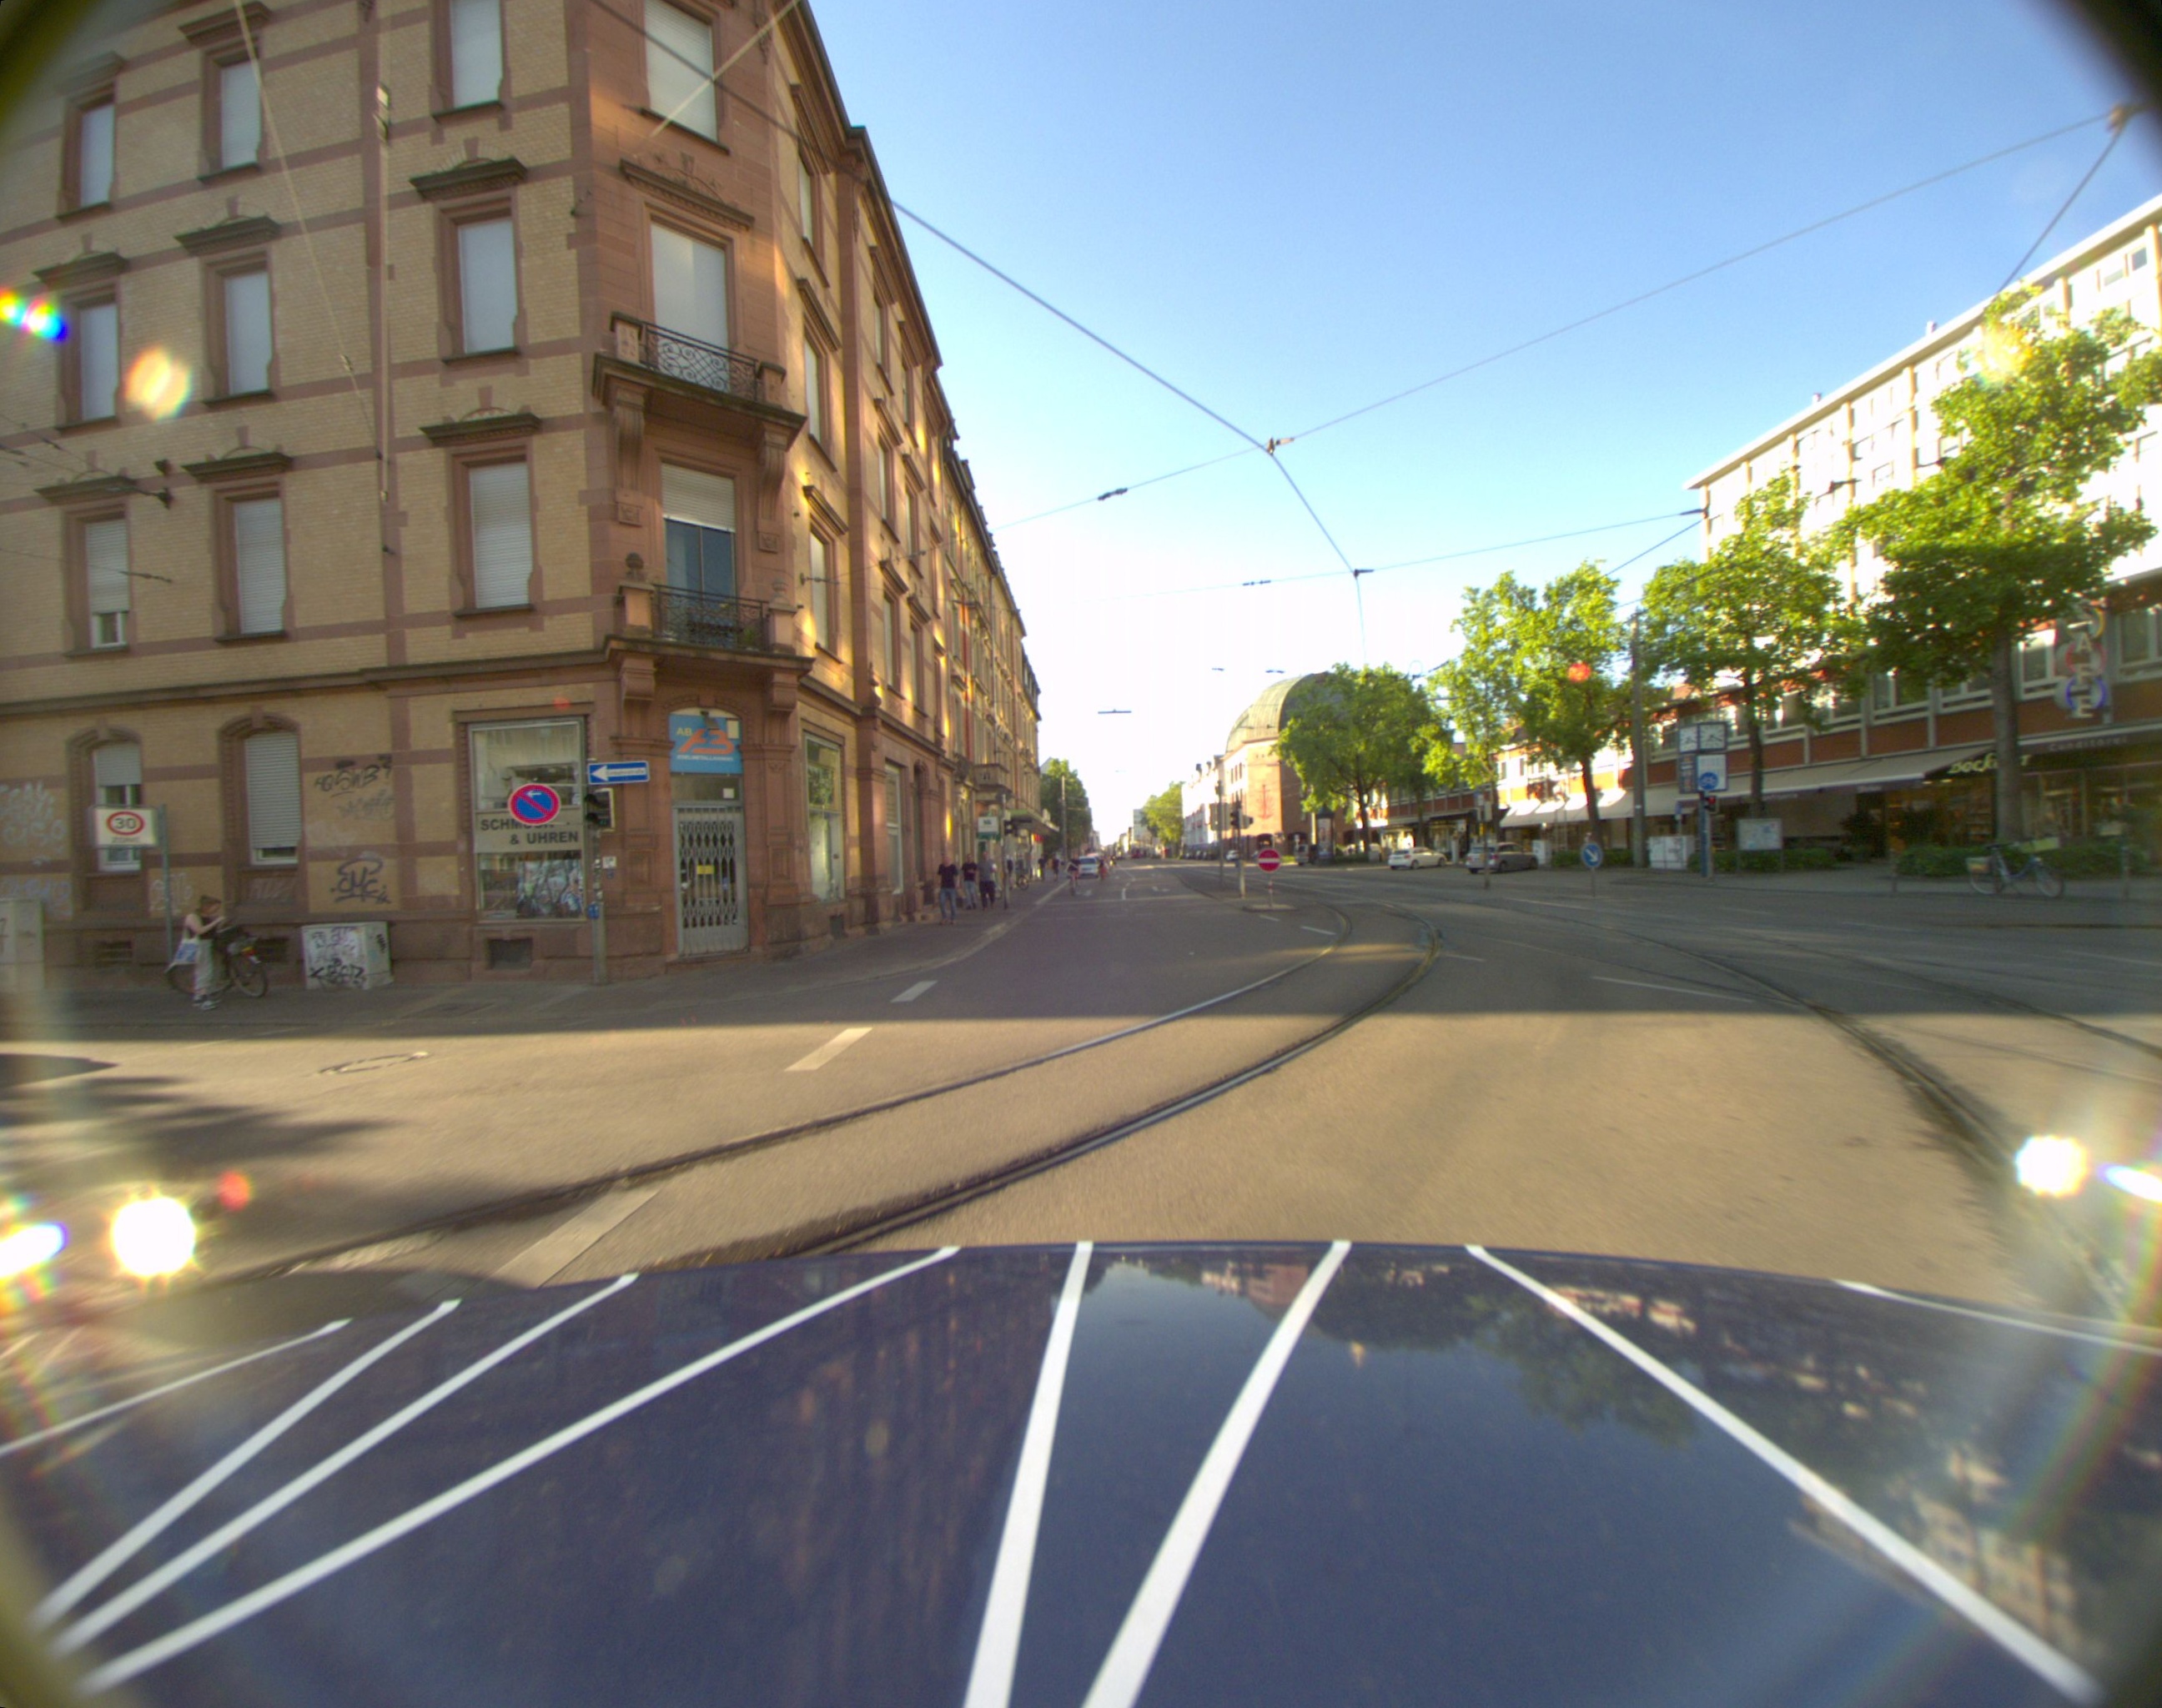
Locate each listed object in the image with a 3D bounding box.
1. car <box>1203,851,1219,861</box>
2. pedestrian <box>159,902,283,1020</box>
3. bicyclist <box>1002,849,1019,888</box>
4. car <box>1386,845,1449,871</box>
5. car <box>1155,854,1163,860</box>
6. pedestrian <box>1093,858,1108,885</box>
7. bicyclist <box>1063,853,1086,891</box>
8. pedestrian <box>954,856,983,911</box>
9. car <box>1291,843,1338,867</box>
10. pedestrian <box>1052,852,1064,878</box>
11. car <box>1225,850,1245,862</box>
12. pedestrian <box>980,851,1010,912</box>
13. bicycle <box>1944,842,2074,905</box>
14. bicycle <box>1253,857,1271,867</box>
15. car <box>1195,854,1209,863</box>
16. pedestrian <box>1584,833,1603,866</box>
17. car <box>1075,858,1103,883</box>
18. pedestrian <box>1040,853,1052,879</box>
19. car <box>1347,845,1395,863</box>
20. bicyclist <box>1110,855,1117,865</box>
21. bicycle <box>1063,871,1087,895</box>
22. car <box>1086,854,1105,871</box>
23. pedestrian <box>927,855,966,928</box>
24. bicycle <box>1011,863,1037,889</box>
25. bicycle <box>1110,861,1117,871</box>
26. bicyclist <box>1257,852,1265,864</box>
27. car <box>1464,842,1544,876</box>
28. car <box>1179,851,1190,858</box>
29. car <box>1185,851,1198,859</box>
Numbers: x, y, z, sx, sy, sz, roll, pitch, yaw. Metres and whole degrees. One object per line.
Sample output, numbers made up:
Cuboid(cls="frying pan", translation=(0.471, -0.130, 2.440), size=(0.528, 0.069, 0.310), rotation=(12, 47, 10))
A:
Cuboid(cls="car", translation=(23.035, 0.290, 134.870), size=(1.964, 1.593, 4.000), rotation=(-3, 0, 0))
Cuboid(cls="pedestrian", translation=(-12.536, 1.537, 11.098), size=(0.743, 1.563, 0.763), rotation=(-3, 4, 9))
Cuboid(cls="bicyclist", translation=(-3.488, 0.720, 37.477), size=(0.600, 1.871, 0.743), rotation=(-2, 0, -24))
Cuboid(cls="car", translation=(22.546, 0.277, 50.898), size=(4.005, 1.466, 1.794), rotation=(-3, 0, -29))
Cuboid(cls="car", translation=(24.496, 0.928, 238.507), size=(1.964, 1.593, 4.000), rotation=(-3, 0, 0))
Cuboid(cls="pedestrian", translation=(1.200, 1.061, 46.486), size=(0.849, 1.651, 0.850), rotation=(-2, 0, 6))
Cuboid(cls="bicyclist", translation=(-0.290, 0.805, 33.818), size=(0.885, 1.650, 0.804), rotation=(-2, 0, 5))
Cuboid(cls="pedestrian", translation=(-3.573, 0.918, 24.231), size=(0.777, 1.713, 0.754), rotation=(-1, 0, 3))
Cuboid(cls="car", translation=(21.478, 0.083, 69.760), size=(4.006, 1.952, 1.907), rotation=(-3, 0, -33))
Cuboid(cls="pedestrian", translation=(-1.530, 0.753, 50.253), size=(0.700, 1.713, 0.503), rotation=(0, 0, 3))
Cuboid(cls="car", translation=(21.823, 0.223, 107.841), size=(1.910, 1.593, 4.000), rotation=(-3, 0, 0))
Cuboid(cls="pedestrian", translation=(-2.737, 0.865, 24.158), size=(0.823, 1.883, 0.754), rotation=(-1, 0, 3))
Cuboid(cls="bicycle", translation=(19.497, 0.394, 16.032), size=(0.582, 1.227, 1.857), rotation=(-3, 0, 8))
Cuboid(cls="bicycle", translation=(21.842, 0.978, 91.850), size=(2.034, 1.085, 0.674), rotation=(-2, 0, 20))
Cuboid(cls="car", translation=(22.447, 0.810, 141.185), size=(1.964, 1.593, 4.000), rotation=(-3, 0, 0))
Cuboid(cls="pedestrian", translation=(27.814, -0.228, 41.232), size=(0.635, 1.759, 0.769), rotation=(-2, 1, 18))
Cuboid(cls="car", translation=(0.624, 1.215, 56.971), size=(1.670, 1.674, 4.002), rotation=(-2, 0, 5))
Cuboid(cls="pedestrian", translation=(-2.342, 0.780, 50.722), size=(0.700, 1.713, 0.681), rotation=(0, 0, 4))
Cuboid(cls="car", translation=(35.188, -0.040, 92.310), size=(4.983, 2.002, 2.000), rotation=(-2, 0, 0))
Cuboid(cls="bicyclist", translation=(3.753, 0.688, 87.566), size=(0.646, 1.176, 0.723), rotation=(-2, 0, -1))
Cuboid(cls="bicycle", translation=(-0.267, 1.282, 33.811), size=(0.885, 0.949, 1.766), rotation=(-2, 0, 5))
Cuboid(cls="car", translation=(1.508, 0.846, 77.223), size=(1.670, 1.674, 4.001), rotation=(-2, 0, 4))
Cuboid(cls="pedestrian", translation=(-3.251, 0.893, 18.444), size=(0.777, 1.713, 0.754), rotation=(-1, 0, 3))
Cuboid(cls="bicycle", translation=(-2.846, 1.072, 37.779), size=(0.669, 1.246, 1.891), rotation=(-2, 0, -24))
Cuboid(cls="bicycle", translation=(3.714, 1.363, 87.511), size=(0.646, 1.176, 1.804), rotation=(-2, 0, -1))
Cuboid(cls="bicyclist", translation=(21.782, 0.516, 91.859), size=(0.762, 1.414, 0.674), rotation=(-2, 0, 20))
Cuboid(cls="car", translation=(22.353, 0.247, 40.112), size=(4.005, 1.545, 1.794), rotation=(-3, 0, -29))
Cuboid(cls="car", translation=(24.041, 0.060, 176.537), size=(1.964, 1.593, 4.000), rotation=(-3, 0, 0))
Cuboid(cls="car", translation=(23.280, 0.172, 160.326), size=(1.964, 1.593, 4.000), rotation=(-3, 0, 0))
